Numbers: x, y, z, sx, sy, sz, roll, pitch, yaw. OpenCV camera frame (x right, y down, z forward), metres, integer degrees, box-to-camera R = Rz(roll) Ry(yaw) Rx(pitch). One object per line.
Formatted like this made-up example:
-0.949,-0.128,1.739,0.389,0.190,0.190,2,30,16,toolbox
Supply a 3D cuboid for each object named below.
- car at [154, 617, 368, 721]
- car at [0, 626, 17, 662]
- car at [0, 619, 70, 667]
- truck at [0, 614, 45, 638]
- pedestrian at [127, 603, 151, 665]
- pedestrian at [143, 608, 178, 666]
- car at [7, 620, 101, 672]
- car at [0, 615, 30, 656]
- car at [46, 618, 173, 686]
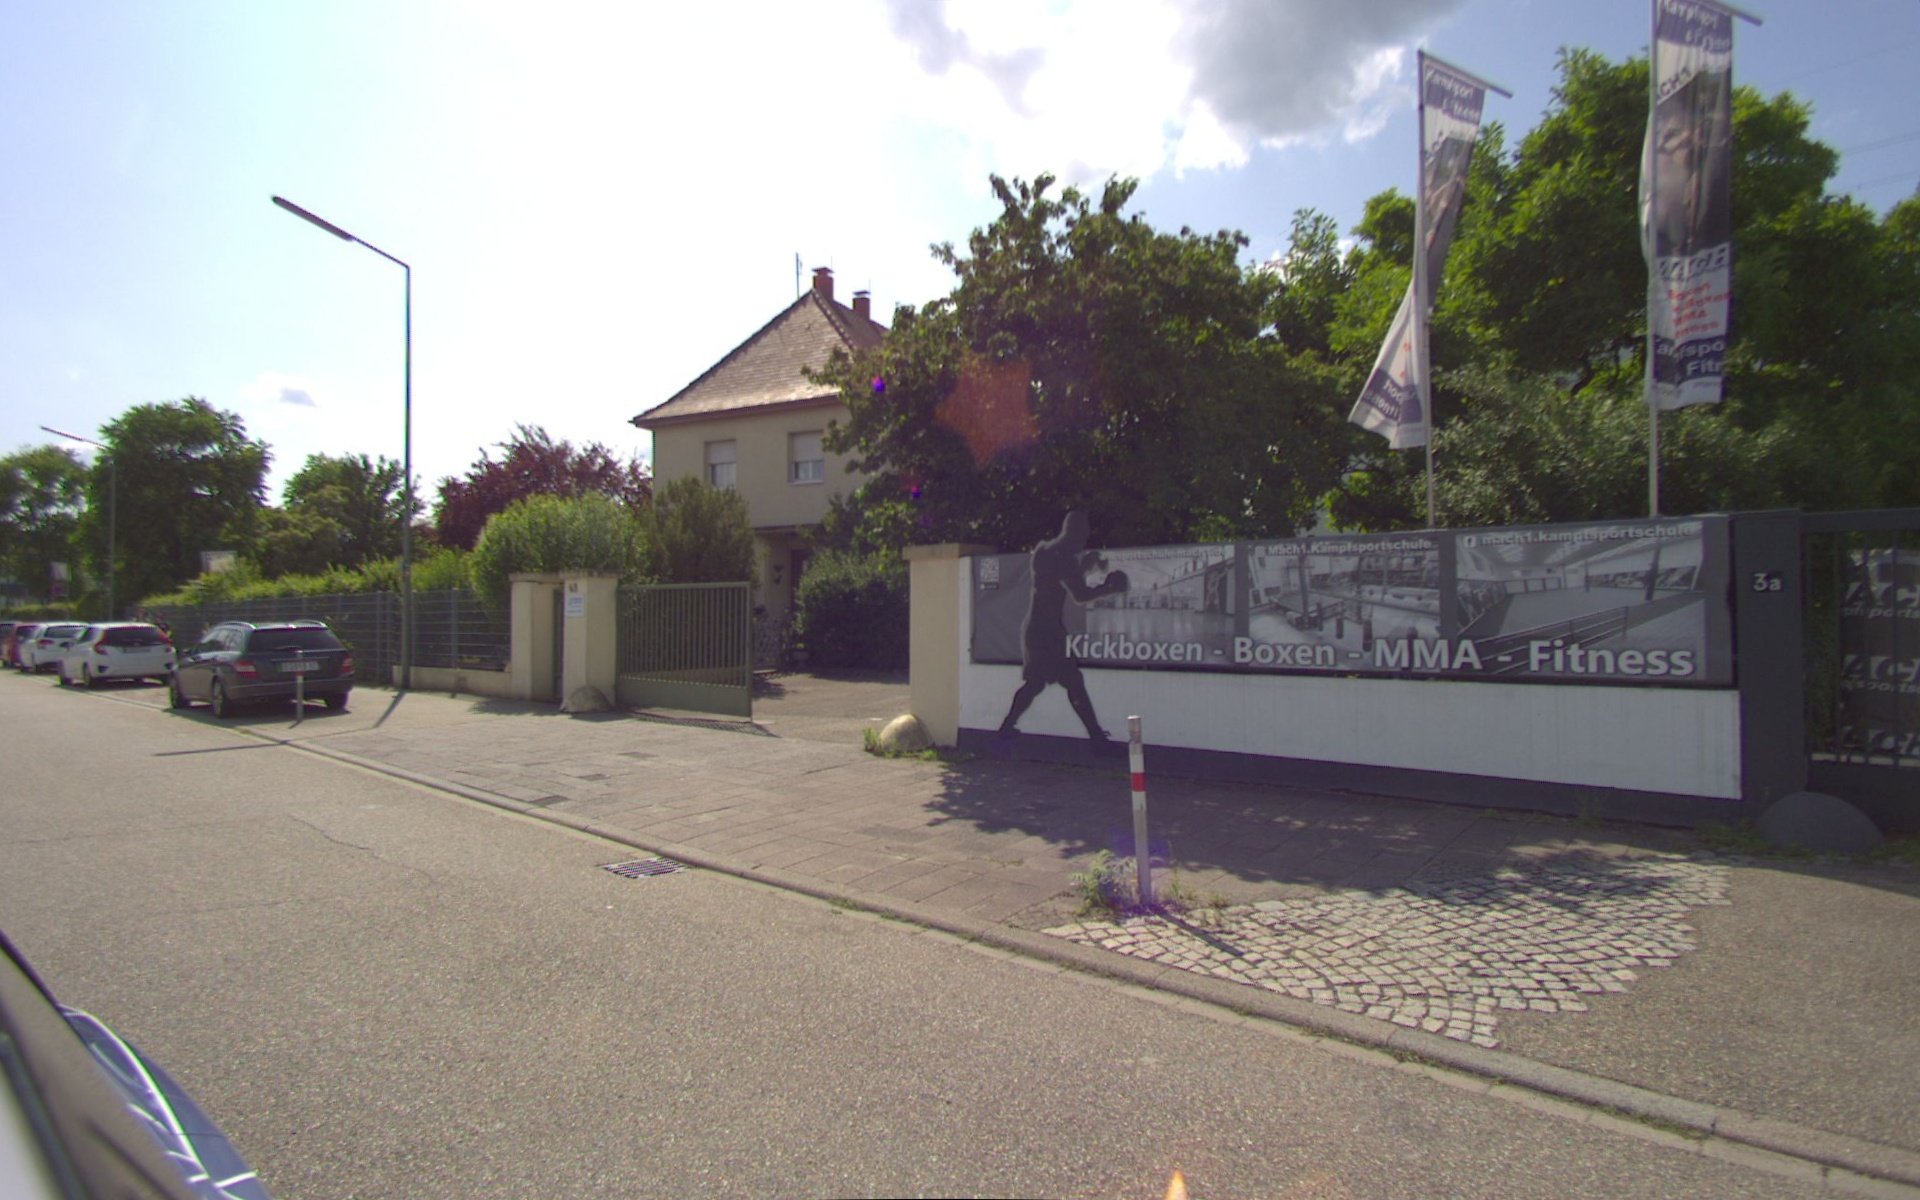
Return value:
-11.609,1.040,16.690,4.493,1.429,1.787,-1,0,40,car
-43.782,1.999,45.309,3.998,1.519,1.826,-1,1,41,car
-31.291,1.407,34.030,3.743,1.478,1.648,-1,0,42,car
-106.527,2.888,112.557,2.382,2.678,6.902,-1,-1,14,truck
-25.485,1.039,31.427,0.677,1.908,0.446,-1,-1,41,pedestrian
-25.386,1.161,32.113,0.915,1.814,0.700,-1,-1,41,pedestrian
-27.764,1.352,30.980,4.026,1.488,1.628,-1,-1,41,car
-40.275,1.494,42.254,3.270,1.657,1.634,-1,1,39,car
-20.888,1.231,24.805,4.170,1.534,1.604,-1,-2,39,car
